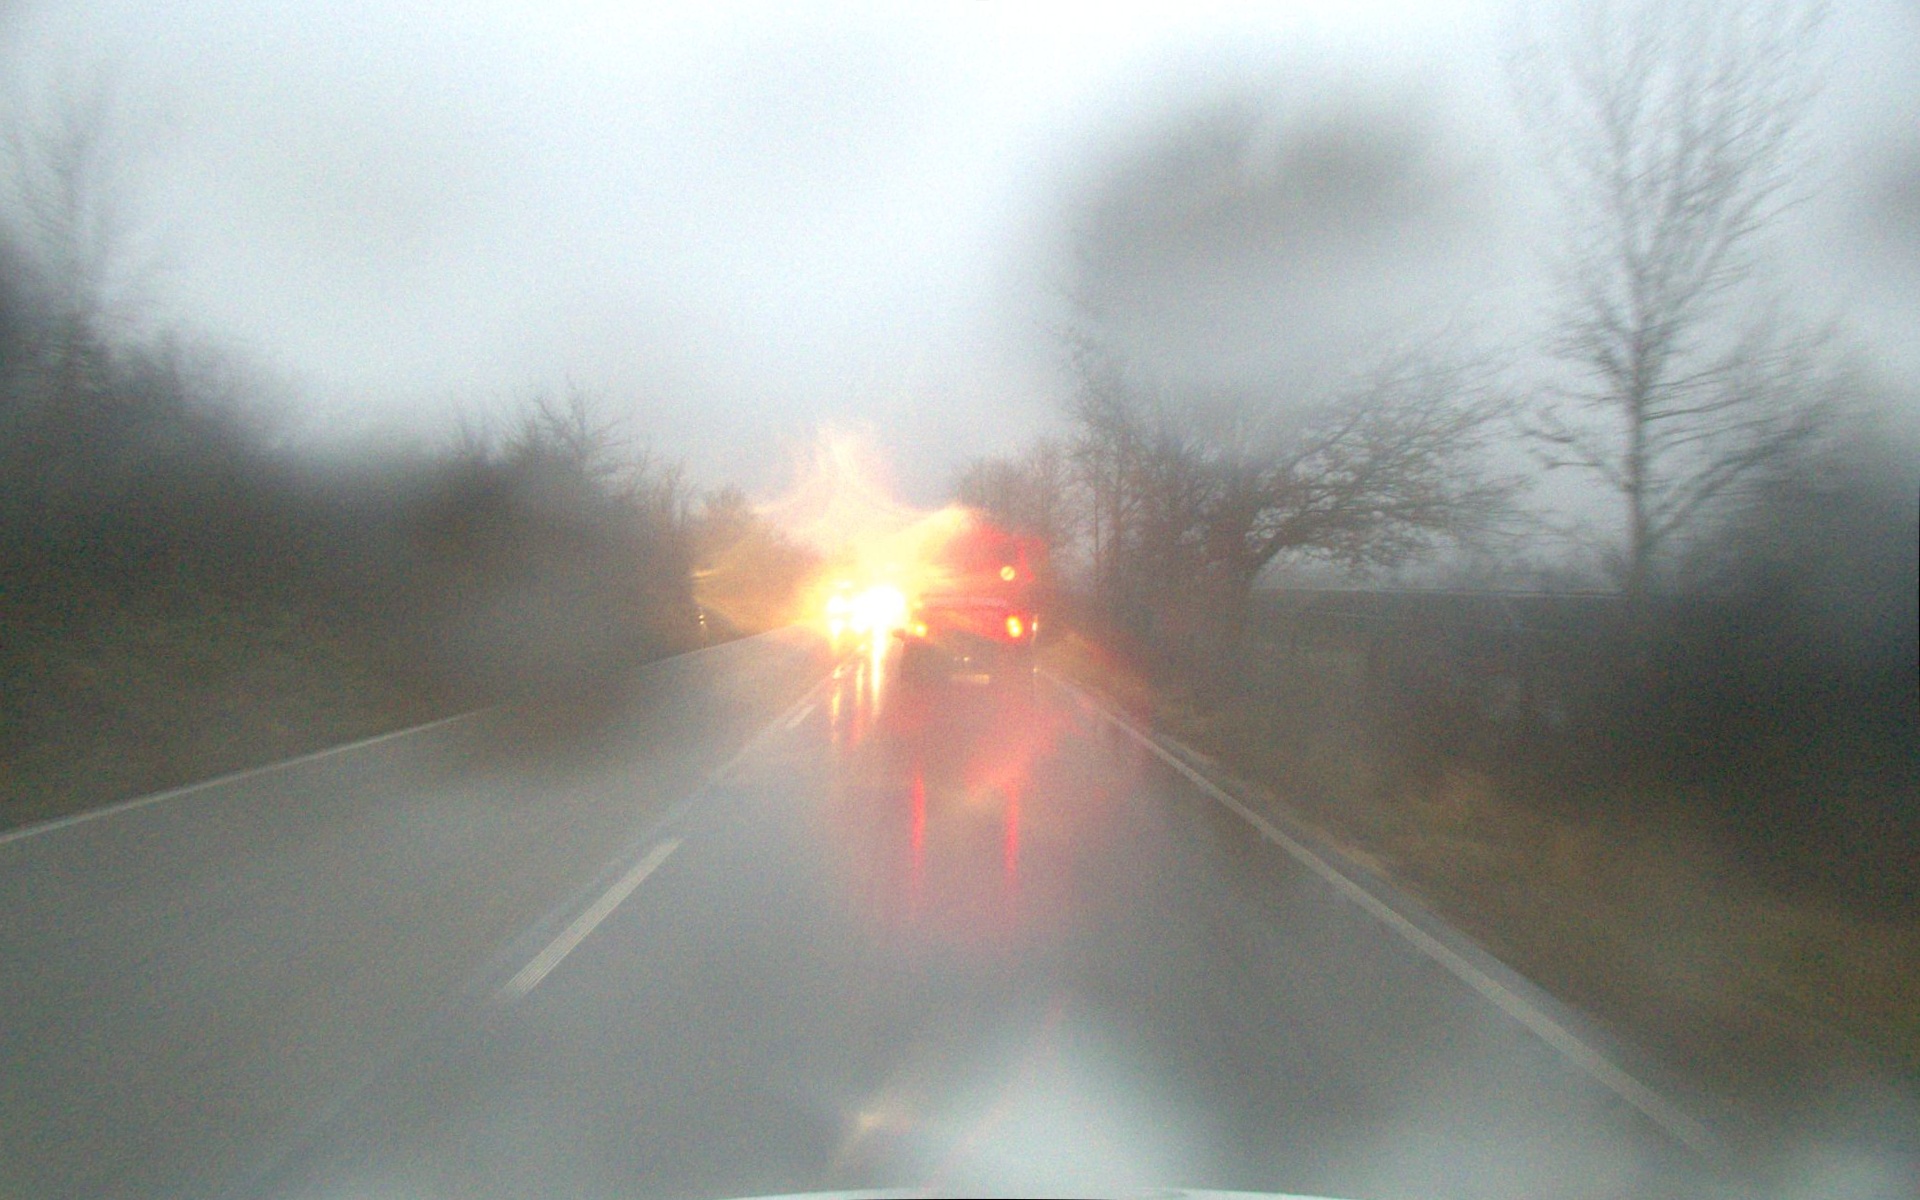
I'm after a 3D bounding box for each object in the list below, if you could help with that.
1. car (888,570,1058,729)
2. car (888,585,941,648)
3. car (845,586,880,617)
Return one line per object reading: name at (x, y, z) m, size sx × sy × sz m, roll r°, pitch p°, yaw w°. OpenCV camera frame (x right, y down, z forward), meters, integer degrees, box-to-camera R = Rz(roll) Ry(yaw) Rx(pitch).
car at (0.145, 0.585, 21.447) m, size 1.953 × 1.816 × 4.000 m, roll 1°, pitch 0°, yaw 0°
car at (-1.416, 0.500, 52.595) m, size 1.542 × 1.907 × 3.708 m, roll 1°, pitch 0°, yaw 0°
car at (-5.118, 0.062, 87.005) m, size 1.657 × 1.557 × 4.084 m, roll 1°, pitch 0°, yaw -1°
